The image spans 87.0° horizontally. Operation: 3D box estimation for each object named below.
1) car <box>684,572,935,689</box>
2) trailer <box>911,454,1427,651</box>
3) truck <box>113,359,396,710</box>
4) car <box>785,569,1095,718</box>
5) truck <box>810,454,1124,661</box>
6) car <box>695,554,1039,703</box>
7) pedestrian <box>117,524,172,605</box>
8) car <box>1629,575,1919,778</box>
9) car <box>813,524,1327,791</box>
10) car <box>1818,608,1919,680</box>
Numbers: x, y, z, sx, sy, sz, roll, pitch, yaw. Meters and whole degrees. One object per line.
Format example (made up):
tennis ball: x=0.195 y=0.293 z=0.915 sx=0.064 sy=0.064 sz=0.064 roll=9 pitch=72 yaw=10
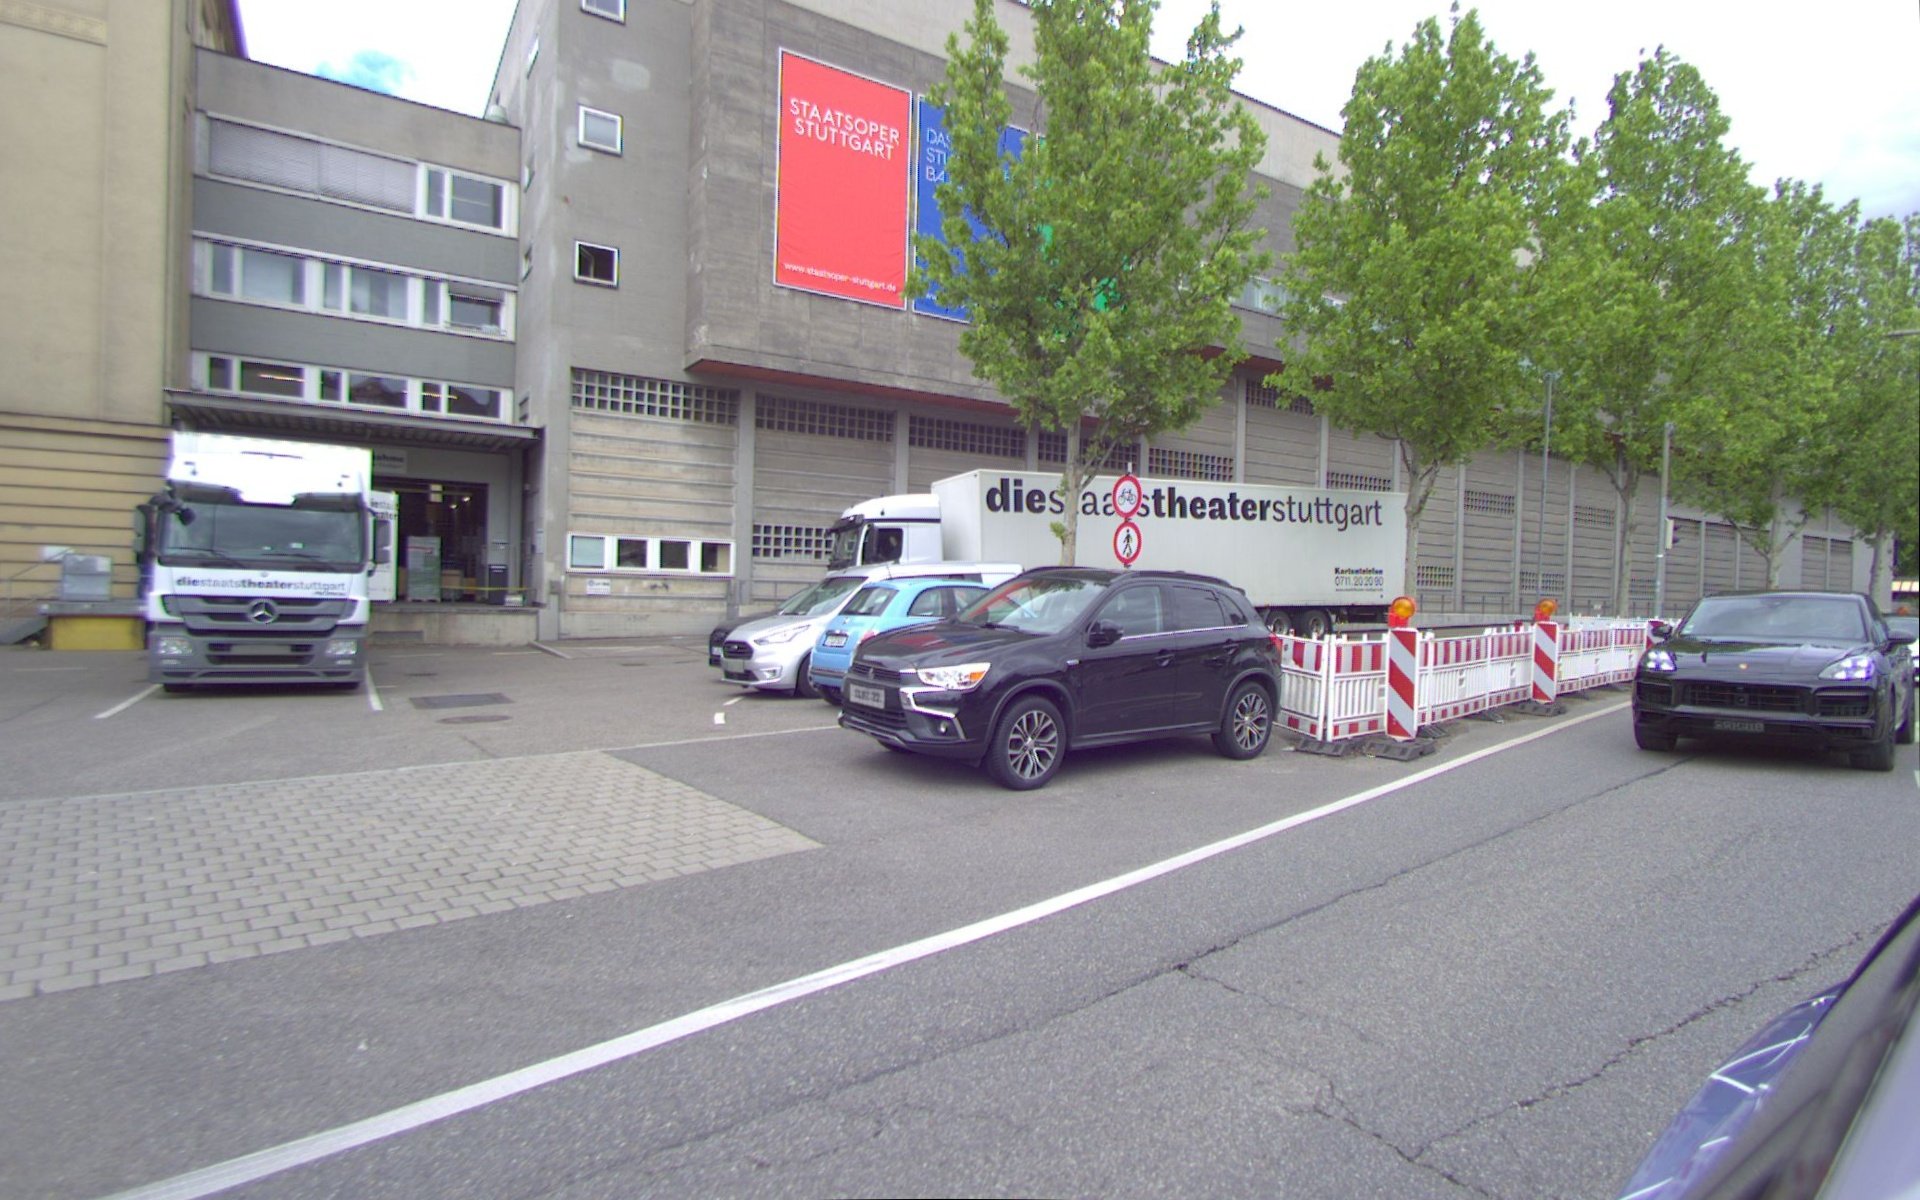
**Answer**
car: x=-2.423 y=0.445 z=16.564 sx=3.689 sy=1.710 sz=1.720 roll=0 pitch=0 yaw=-35
trailer: x=5.696 y=-0.989 z=25.719 sx=13.684 sy=4.154 sz=3.162 roll=0 pitch=-1 yaw=-26
truck: x=-11.795 y=-0.938 z=17.470 sx=2.940 sy=4.257 sz=10.395 roll=1 pitch=1 yaw=-32
car: x=-0.185 y=0.460 z=12.178 sx=3.437 sy=1.549 sz=1.585 roll=0 pitch=0 yaw=-35
truck: x=0.150 y=-0.860 z=23.050 sx=6.437 sy=4.136 sz=3.147 roll=0 pitch=0 yaw=-26
car: x=-1.224 y=0.382 z=14.299 sx=4.533 sy=1.807 sz=1.810 roll=0 pitch=-2 yaw=-35
pedestrian: x=-17.557 y=-0.759 z=21.805 sx=0.679 sy=1.716 sz=0.628 roll=0 pitch=-1 yaw=-6
car: x=8.601 y=0.635 z=10.477 sx=4.130 sy=1.679 sz=1.905 roll=0 pitch=0 yaw=-43
car: x=1.121 y=0.418 z=8.753 sx=4.403 sy=1.760 sz=1.809 roll=1 pitch=-1 yaw=-38
car: x=19.824 y=0.868 z=21.278 sx=3.926 sy=1.393 sz=1.935 roll=0 pitch=0 yaw=-37
